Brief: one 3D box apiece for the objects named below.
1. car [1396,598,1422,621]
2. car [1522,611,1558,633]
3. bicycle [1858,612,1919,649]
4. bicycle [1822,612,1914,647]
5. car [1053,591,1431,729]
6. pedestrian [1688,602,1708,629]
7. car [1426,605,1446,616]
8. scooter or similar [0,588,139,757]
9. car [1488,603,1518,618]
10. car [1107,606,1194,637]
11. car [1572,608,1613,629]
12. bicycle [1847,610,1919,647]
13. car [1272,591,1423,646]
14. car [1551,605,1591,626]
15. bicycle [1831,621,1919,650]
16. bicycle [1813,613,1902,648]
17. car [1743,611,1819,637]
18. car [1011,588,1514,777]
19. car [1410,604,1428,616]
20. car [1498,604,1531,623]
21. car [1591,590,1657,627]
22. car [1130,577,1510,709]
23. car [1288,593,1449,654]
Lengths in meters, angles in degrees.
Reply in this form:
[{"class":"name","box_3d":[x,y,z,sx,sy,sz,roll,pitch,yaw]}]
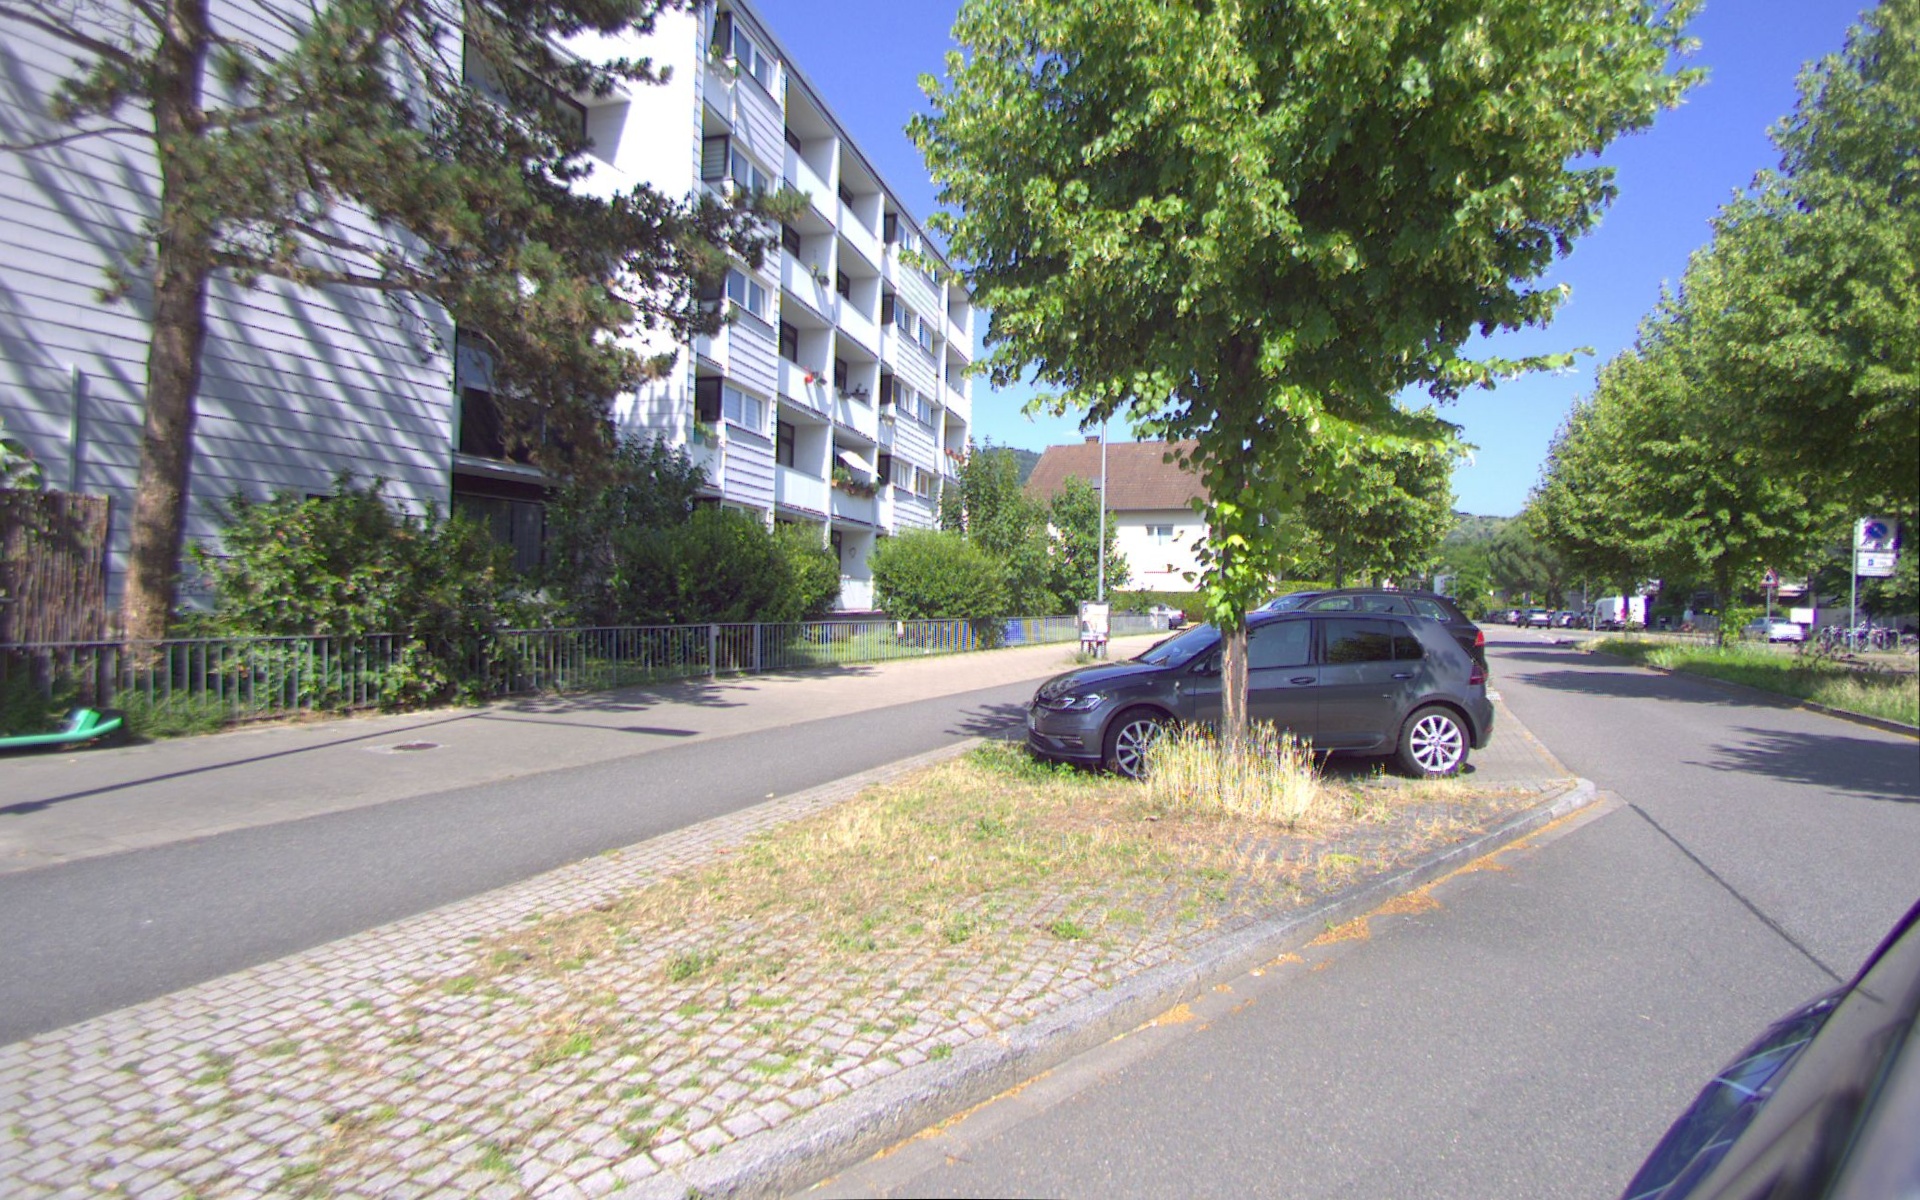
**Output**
[{"class":"car","box_3d":[37.314,0.746,84.196,1.747,1.850,4.565,-1,0,22]},{"class":"car","box_3d":[45.403,1.691,79.304,1.726,1.566,4.046,2,1,20]},{"class":"bicycle","box_3d":[33.985,1.095,36.315,2.524,1.272,0.734,1,0,23]},{"class":"bicycle","box_3d":[35.504,1.149,39.620,2.524,1.255,0.734,2,-1,23]},{"class":"car","box_3d":[3.210,0.670,12.011,3.920,1.492,1.770,1,0,-4]},{"class":"pedestrian","box_3d":[50.890,1.078,69.777,0.965,1.802,0.720,1,0,21]},{"class":"car","box_3d":[65.849,1.443,139.994,1.933,1.571,3.979,1,0,16]},{"class":"scooter or similar","box_3d":[-6.635,0.511,7.397,0.229,1.181,0.947,0,-1,32]},{"class":"car","box_3d":[57.356,1.121,106.938,1.821,1.476,4.173,2,0,15]},{"class":"car","box_3d":[9.932,1.134,52.786,4.087,1.416,1.794,1,-3,26]},{"class":"car","box_3d":[50.201,1.460,80.409,1.702,1.579,3.978,2,0,17]},{"class":"bicycle","box_3d":[34.472,1.068,37.329,2.495,1.272,0.734,2,-1,23]},{"class":"car","box_3d":[12.404,0.567,32.544,4.036,1.661,2.047,1,0,-8]},{"class":"car","box_3d":[51.415,1.299,85.219,1.702,1.579,4.646,2,0,17]},{"class":"bicycle","box_3d":[34.996,1.347,38.625,2.524,1.000,0.734,2,0,23]},{"class":"bicycle","box_3d":[35.886,1.210,40.525,2.524,1.272,0.734,2,-1,23]},{"class":"car","box_3d":[43.383,1.246,53.591,1.702,1.283,3.978,2,0,17]},{"class":"car","box_3d":[2.608,0.697,9.457,4.036,1.549,2.001,1,0,-3]},{"class":"car","box_3d":[69.139,1.516,152.500,1.972,1.638,3.979,1,0,16]},{"class":"car","box_3d":[55.730,1.359,101.775,1.821,1.787,4.563,2,0,15]},{"class":"car","box_3d":[48.807,0.654,74.580,2.064,2.528,5.927,2,0,13]},{"class":"car","box_3d":[4.894,0.573,14.110,4.651,1.681,1.754,1,0,-5]},{"class":"car","box_3d":[11.708,0.653,29.106,3.916,1.660,1.884,1,1,-13]}]
